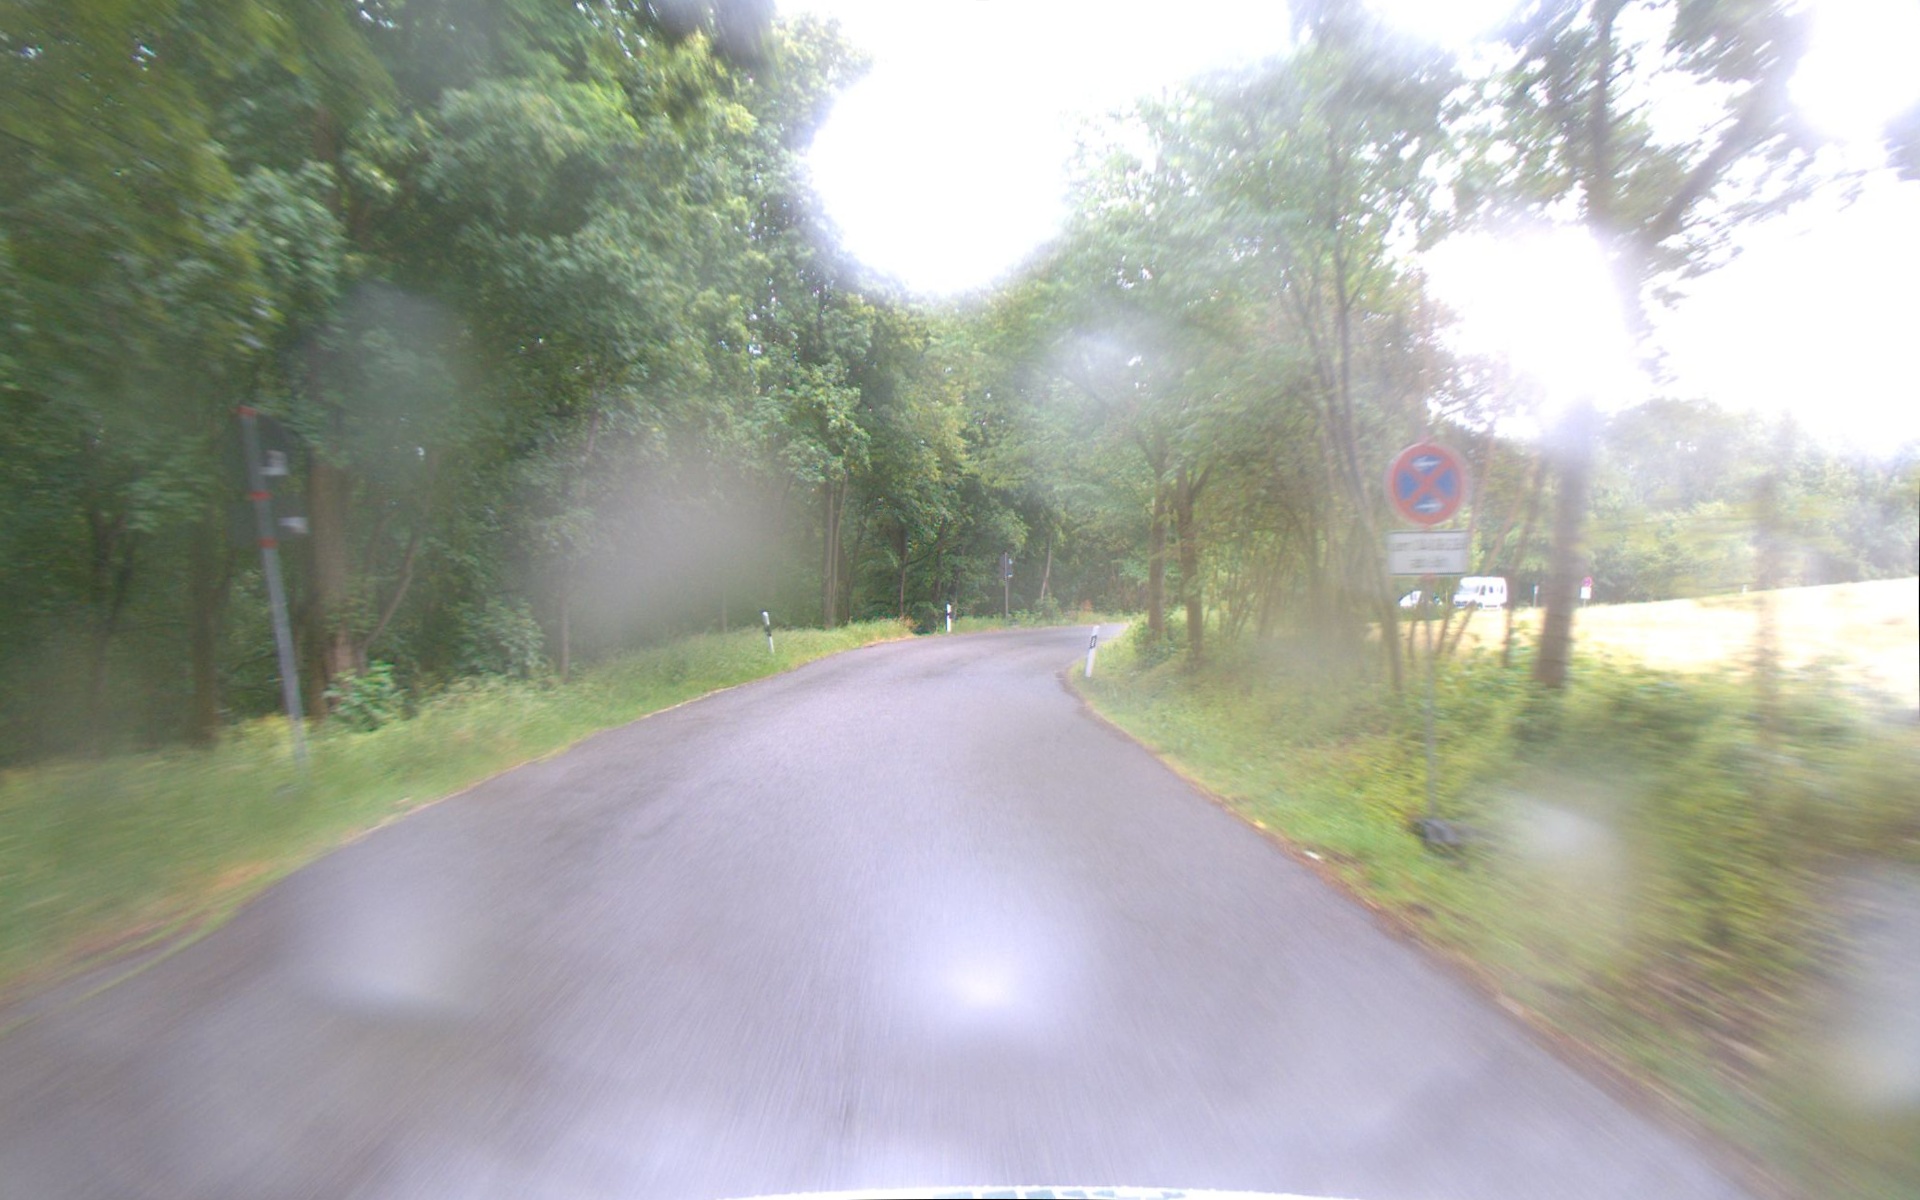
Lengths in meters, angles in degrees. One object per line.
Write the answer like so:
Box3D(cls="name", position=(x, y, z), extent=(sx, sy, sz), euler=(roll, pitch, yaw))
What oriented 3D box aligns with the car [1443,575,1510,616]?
Box3D(cls="car", position=(36.087, -0.337, 115.494), extent=(2.238, 2.744, 6.016), euler=(-1, 1, 40))
